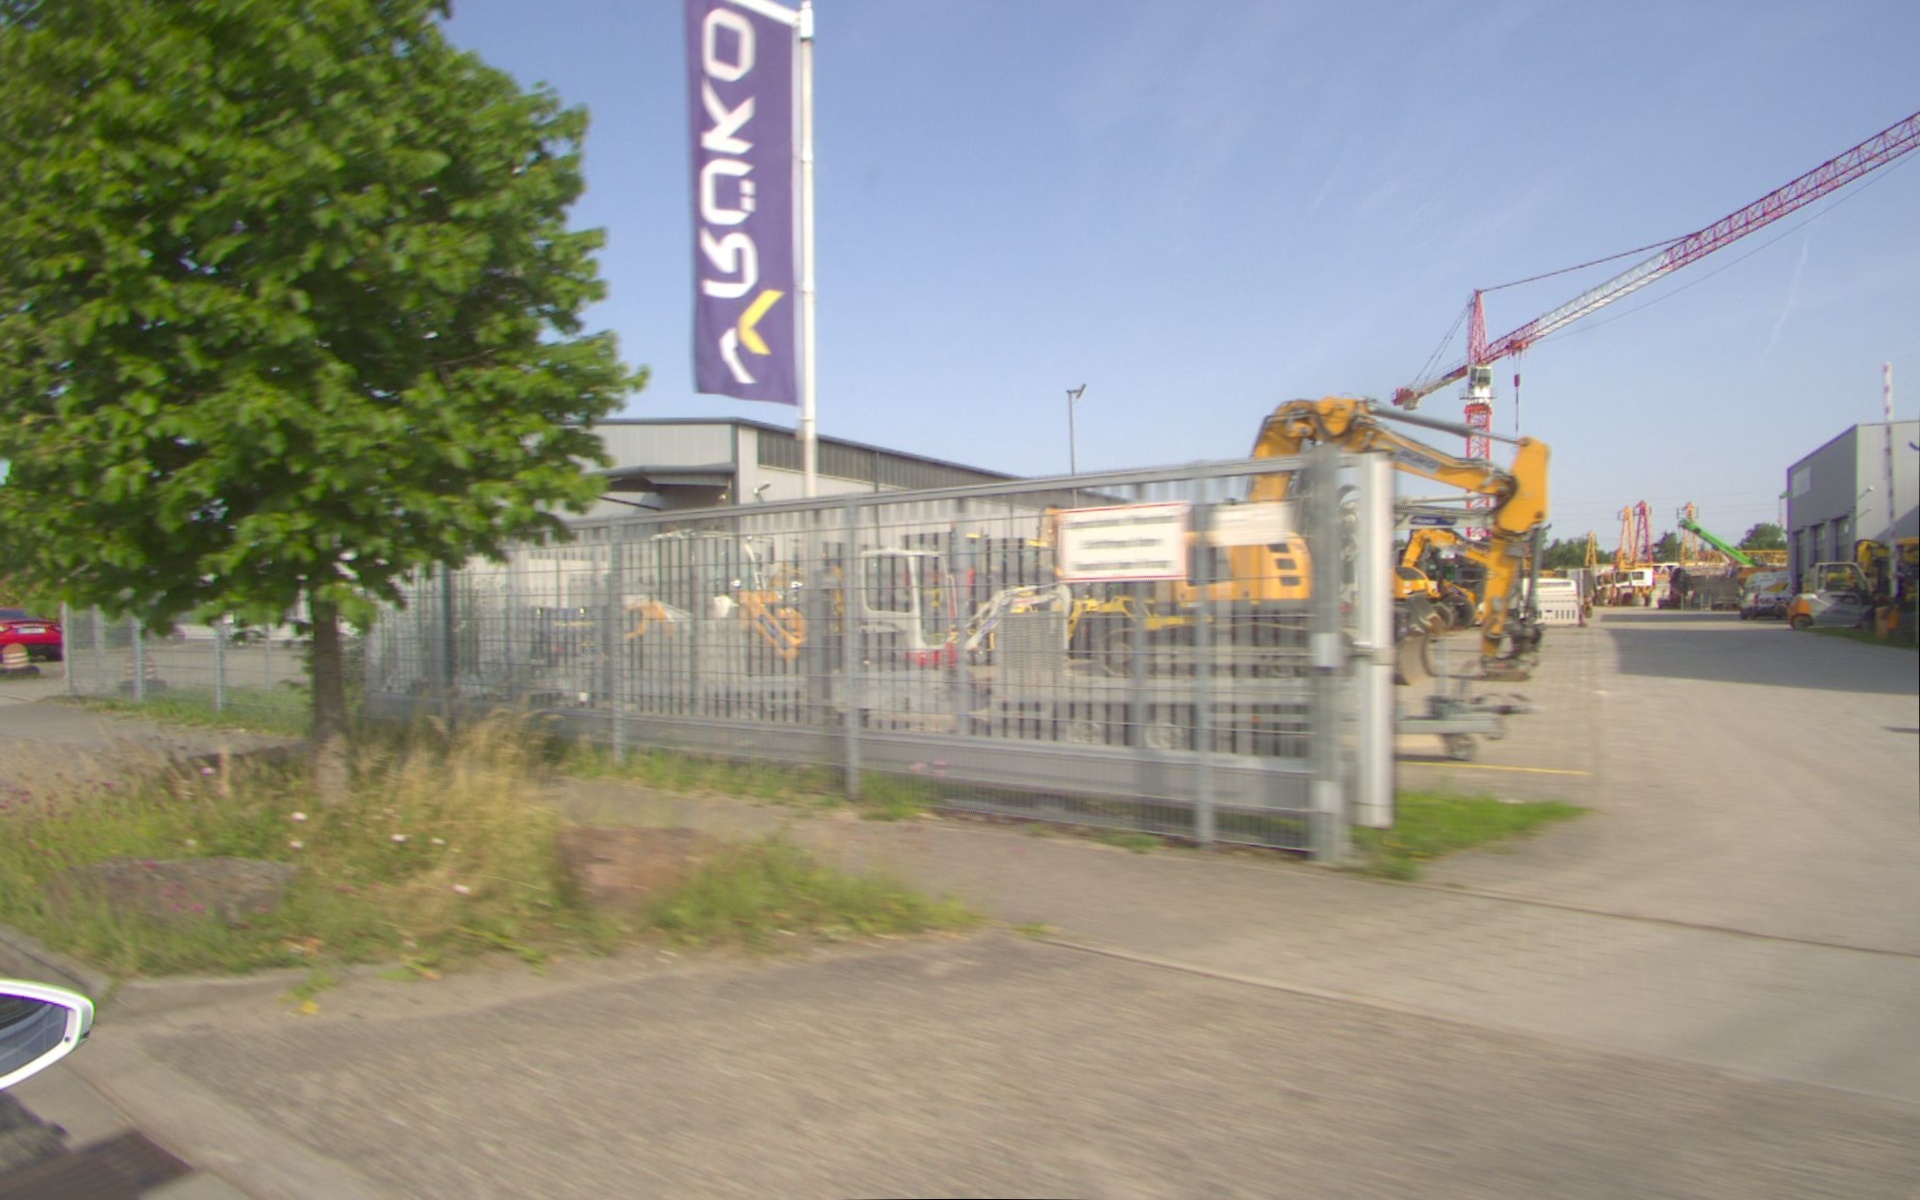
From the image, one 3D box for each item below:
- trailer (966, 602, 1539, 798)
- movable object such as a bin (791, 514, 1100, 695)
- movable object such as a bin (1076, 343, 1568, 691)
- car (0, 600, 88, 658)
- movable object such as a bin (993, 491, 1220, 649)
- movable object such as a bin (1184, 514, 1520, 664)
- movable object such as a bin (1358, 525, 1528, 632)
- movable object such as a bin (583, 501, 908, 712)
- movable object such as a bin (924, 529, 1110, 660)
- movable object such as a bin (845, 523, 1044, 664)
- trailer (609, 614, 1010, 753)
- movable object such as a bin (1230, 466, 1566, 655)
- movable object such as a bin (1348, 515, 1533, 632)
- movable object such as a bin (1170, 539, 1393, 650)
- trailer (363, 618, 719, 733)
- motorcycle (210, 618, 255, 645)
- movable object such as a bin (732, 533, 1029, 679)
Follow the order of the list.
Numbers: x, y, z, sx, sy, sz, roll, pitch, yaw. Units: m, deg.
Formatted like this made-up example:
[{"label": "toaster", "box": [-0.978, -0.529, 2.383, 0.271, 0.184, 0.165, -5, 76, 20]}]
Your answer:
[{"label": "trailer", "box": [2.468, 0.732, 8.875, 4.501, 1.328, 1.988, -2, -1, 34]}, {"label": "movable object such as a bin", "box": [-0.325, 0.074, 15.976, 4.702, 2.491, 1.986, 0, 1, 37]}, {"label": "movable object such as a bin", "box": [6.148, -1.167, 17.477, 7.560, 4.871, 3.310, 0, 1, 32]}, {"label": "car", "box": [-24.441, 0.702, 25.513, 4.701, 1.376, 1.878, 0, 0, 29]}, {"label": "movable object such as a bin", "box": [4.003, -0.732, 27.652, 5.638, 3.925, 2.677, 0, 1, 34]}, {"label": "movable object such as a bin", "box": [8.171, -0.215, 21.105, 6.256, 2.752, 2.695, 0, 1, 32]}, {"label": "movable object such as a bin", "box": [19.175, -0.786, 39.876, 5.931, 3.982, 2.714, -1, 1, 29]}, {"label": "movable object such as a bin", "box": [-3.412, 0.104, 15.441, 5.088, 2.789, 1.882, 0, 1, 34]}, {"label": "movable object such as a bin", "box": [1.421, -0.112, 25.499, 4.312, 3.072, 1.988, 0, 1, 34]}, {"label": "movable object such as a bin", "box": [-0.407, -0.123, 23.925, 4.429, 3.072, 1.988, 0, 1, 34]}, {"label": "trailer", "box": [-1.748, 0.810, 11.274, 4.231, 1.260, 1.940, 0, 0, 32]}, {"label": "movable object such as a bin", "box": [10.445, -0.847, 24.171, 7.102, 3.982, 2.912, 0, 1, 32]}, {"label": "movable object such as a bin", "box": [17.612, -0.888, 36.855, 5.931, 3.982, 2.714, -1, 1, 29]}, {"label": "movable object such as a bin", "box": [8.864, -0.152, 27.862, 5.607, 2.806, 2.050, 0, 1, 32]}, {"label": "trailer", "box": [-5.750, 0.899, 13.597, 4.726, 1.260, 2.122, 0, 0, 32]}, {"label": "motorcycle", "box": [-21.812, 0.924, 30.002, 1.560, 0.762, 0.533, 0, 2, 33]}, {"label": "movable object such as a bin", "box": [-1.621, 0.118, 20.018, 5.264, 2.525, 2.915, 0, 0, 34]}]
